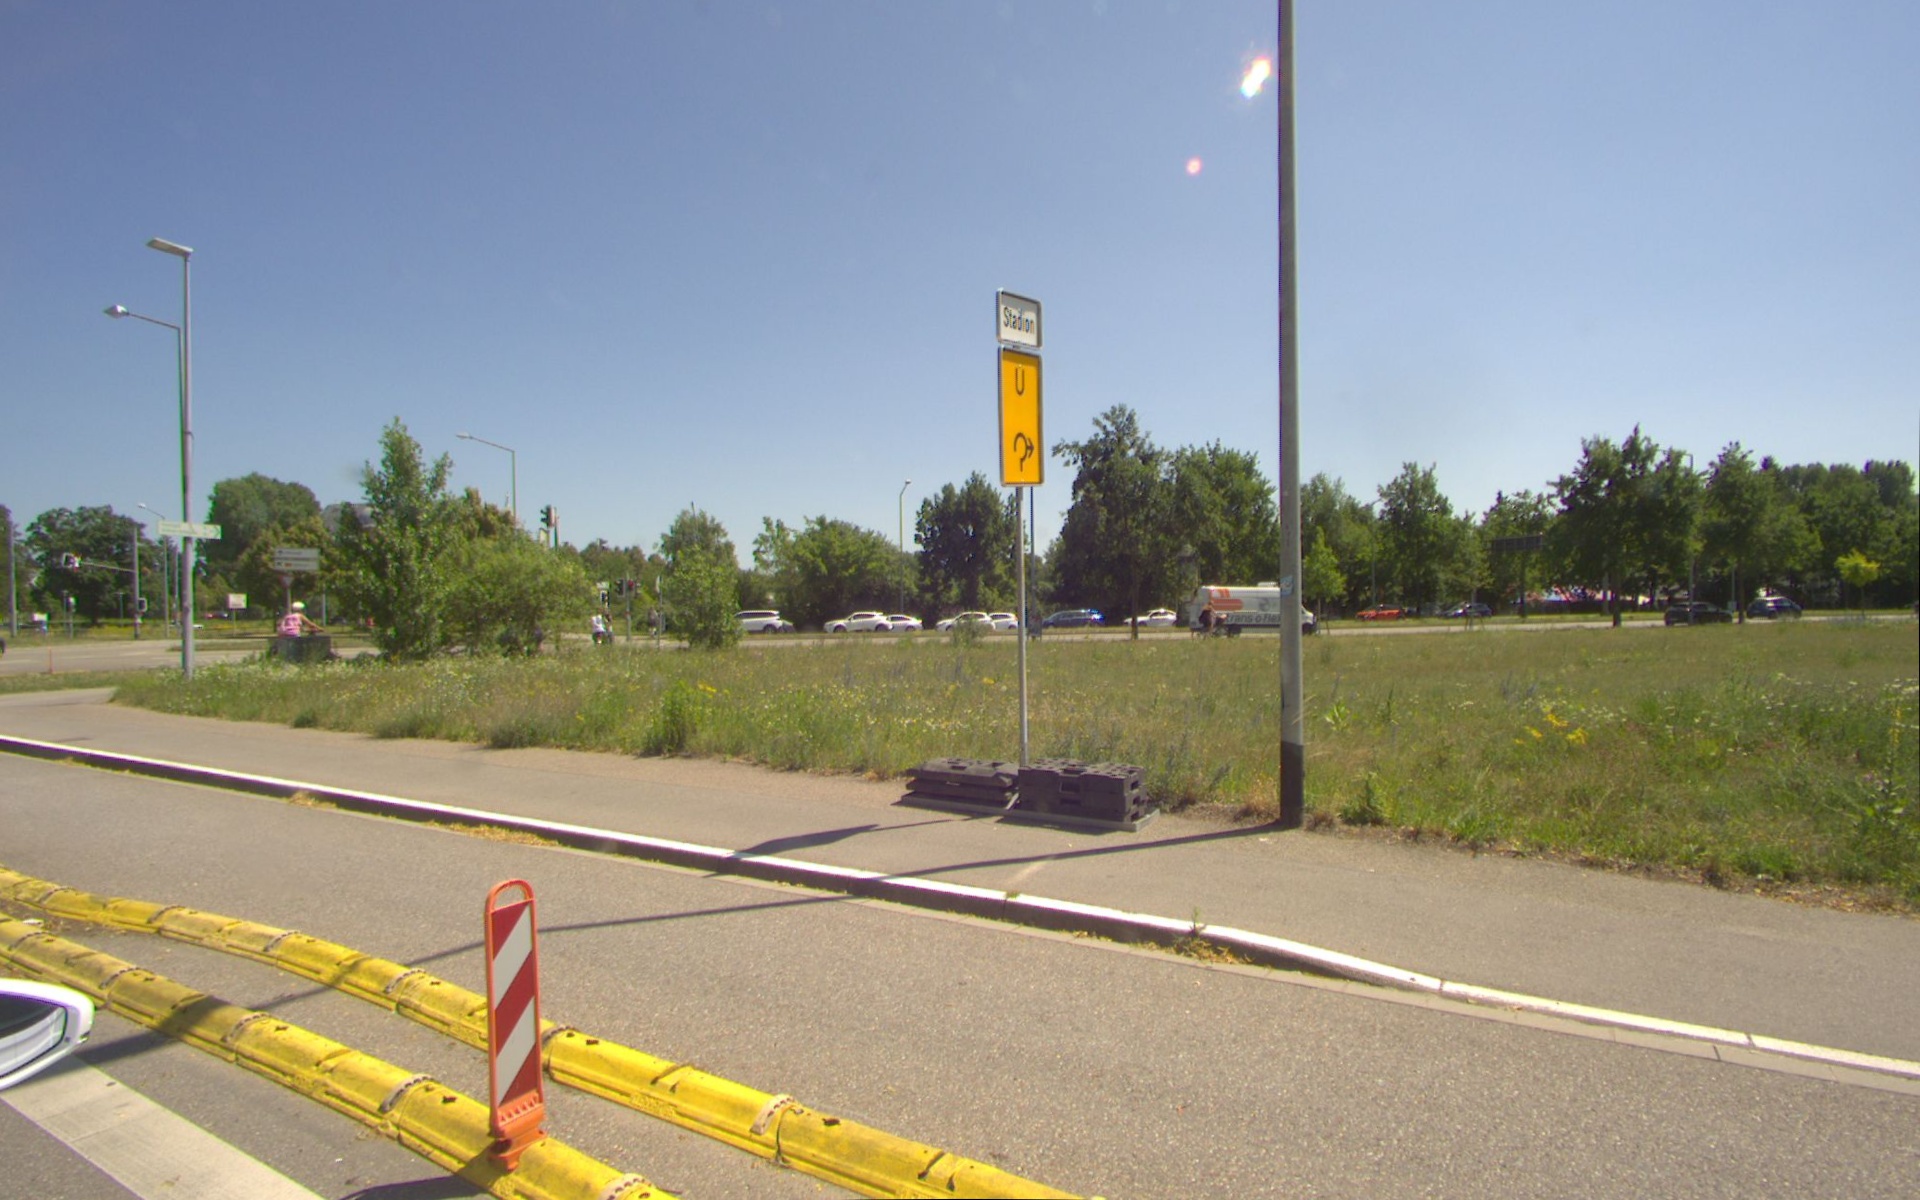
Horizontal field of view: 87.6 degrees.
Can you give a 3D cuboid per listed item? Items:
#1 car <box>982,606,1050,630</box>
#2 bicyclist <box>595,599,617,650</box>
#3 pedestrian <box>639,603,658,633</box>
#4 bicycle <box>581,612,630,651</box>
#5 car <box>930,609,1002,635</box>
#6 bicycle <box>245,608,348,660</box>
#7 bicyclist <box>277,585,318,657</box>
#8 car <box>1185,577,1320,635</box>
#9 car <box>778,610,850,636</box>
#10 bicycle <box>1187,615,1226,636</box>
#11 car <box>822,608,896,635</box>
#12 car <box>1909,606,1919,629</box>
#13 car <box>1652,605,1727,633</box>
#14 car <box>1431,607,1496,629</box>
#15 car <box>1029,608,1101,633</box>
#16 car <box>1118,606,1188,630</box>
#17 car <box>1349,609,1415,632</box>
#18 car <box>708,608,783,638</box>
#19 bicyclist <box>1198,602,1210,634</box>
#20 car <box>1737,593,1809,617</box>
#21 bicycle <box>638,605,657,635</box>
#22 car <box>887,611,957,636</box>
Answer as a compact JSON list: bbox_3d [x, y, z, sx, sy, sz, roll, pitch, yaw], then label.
[{"bbox_3d":[3.877,1.218,69.172,4.365,1.613,1.845,0,0,-16],"label":"car"},{"bbox_3d":[-13.156,0.914,37.190,0.597,1.864,0.572,0,-1,2],"label":"bicyclist"},{"bbox_3d":[-17.471,1.027,56.148,0.954,1.681,0.885,0,-1,-16],"label":"pedestrian"},{"bbox_3d":[-13.157,1.184,37.302,0.628,1.370,2.896,0,-2,4],"label":"bicycle"},{"bbox_3d":[0.371,1.455,64.873,4.366,1.612,1.846,0,-2,-16],"label":"car"},{"bbox_3d":[-16.647,0.825,25.177,0.625,1.237,2.086,0,0,34],"label":"bicycle"},{"bbox_3d":[-16.649,0.522,25.167,0.584,1.776,0.668,1,2,34],"label":"bicyclist"},{"bbox_3d":[15.079,0.380,51.625,6.764,2.864,1.997,0,-1,-18],"label":"car"},{"bbox_3d":[-9.457,1.512,64.817,4.366,1.612,1.846,0,-2,-16],"label":"car"},{"bbox_3d":[10.318,1.067,41.860,1.564,0.895,0.369,0,-1,-10],"label":"bicycle"},{"bbox_3d":[-6.376,1.370,62.875,4.366,1.612,1.846,0,-2,-16],"label":"car"},{"bbox_3d":[69.656,1.241,70.622,4.340,1.617,1.996,0,1,-16],"label":"car"},{"bbox_3d":[43.866,1.135,60.200,3.932,1.573,1.723,1,1,-20],"label":"car"},{"bbox_3d":[38.156,1.383,75.924,4.366,1.612,1.846,0,-2,-16],"label":"car"},{"bbox_3d":[6.971,1.372,66.590,4.366,1.612,1.846,0,-2,-16],"label":"car"},{"bbox_3d":[13.228,1.226,68.619,4.366,1.612,1.846,0,-2,-16],"label":"car"},{"bbox_3d":[31.168,1.532,73.945,4.337,1.612,1.846,0,-2,-16],"label":"car"},{"bbox_3d":[-12.975,1.392,60.499,4.366,1.758,1.846,0,-2,-16],"label":"car"},{"bbox_3d":[10.210,0.767,41.851,0.349,1.336,0.379,0,-1,-9],"label":"bicyclist"},{"bbox_3d":[57.115,0.353,70.350,4.344,1.617,1.994,0,1,-20],"label":"car"},{"bbox_3d":[-17.503,1.157,56.155,0.967,1.617,2.879,0,-2,-16],"label":"bicycle"},{"bbox_3d":[-2.569,1.572,66.886,4.366,1.612,1.846,0,-2,-16],"label":"car"}]
